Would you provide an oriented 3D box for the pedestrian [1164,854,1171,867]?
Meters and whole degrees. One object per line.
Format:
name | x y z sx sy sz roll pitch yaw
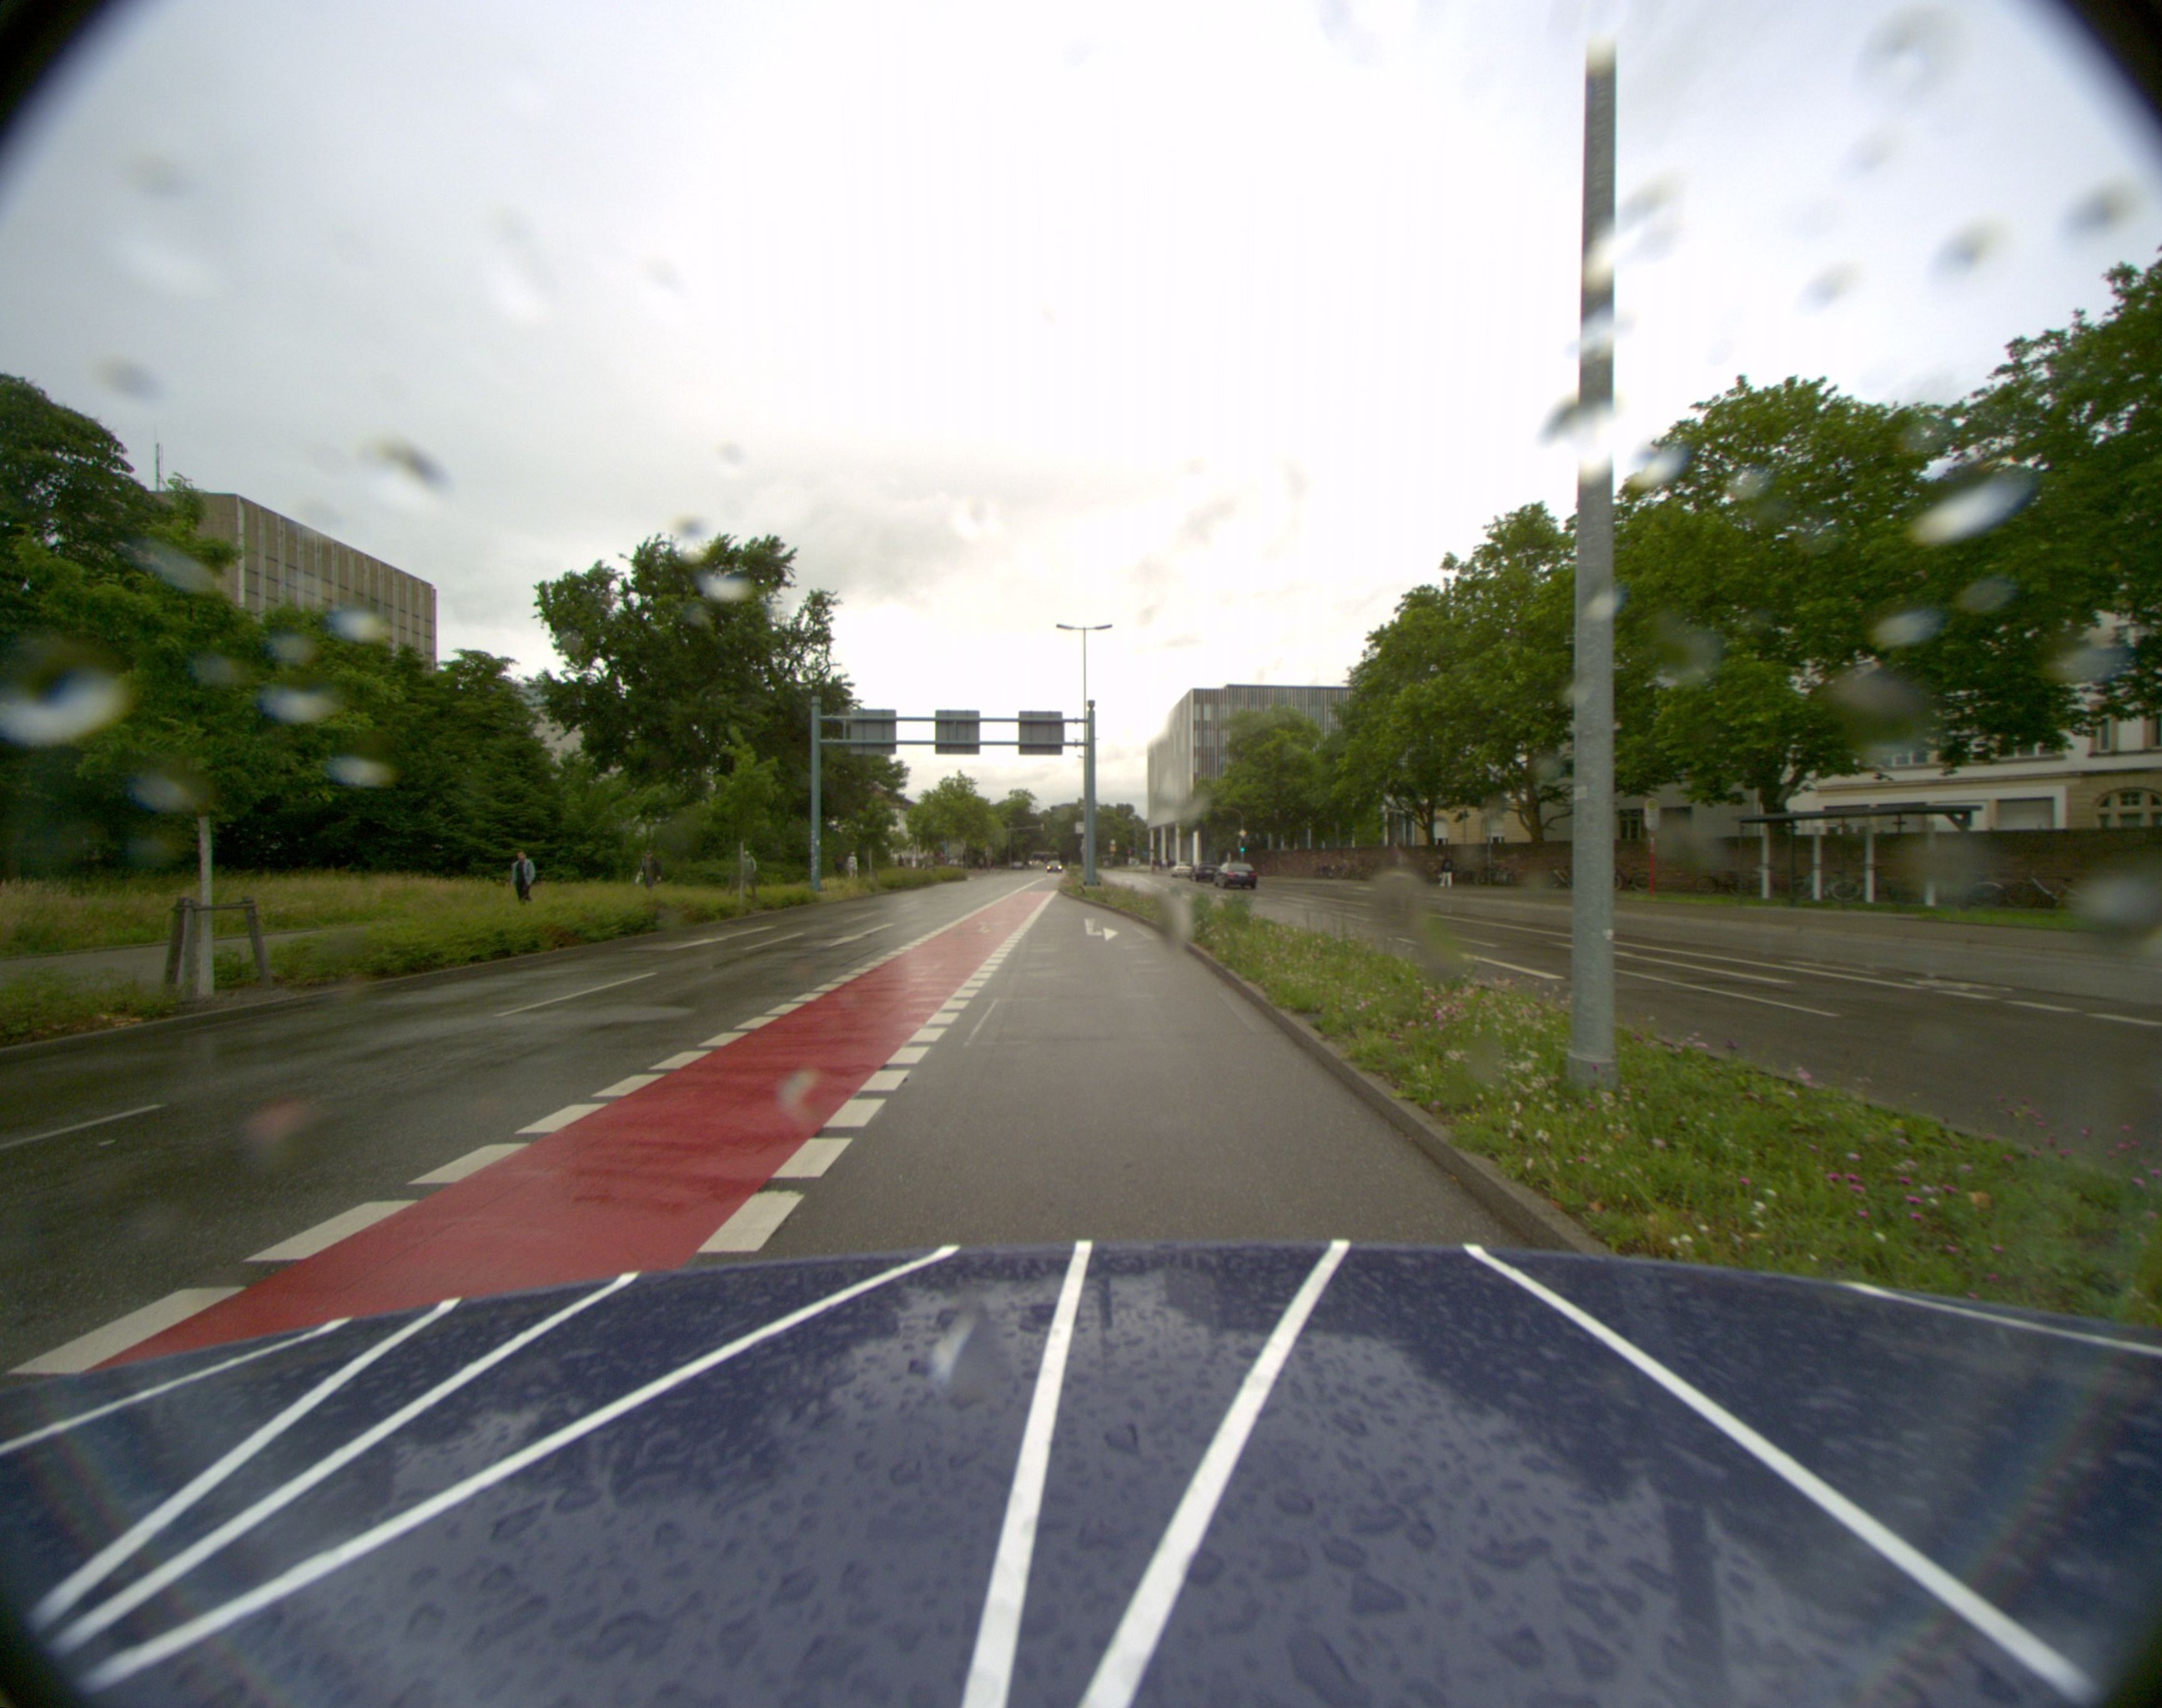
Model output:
pedestrian | 12.324 0.947 107.781 0.788 1.813 0.623 0 0 -24

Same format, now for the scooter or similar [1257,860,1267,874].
scooter or similar | 16.242 1.198 68.232 0.392 1.191 1.141 -7 1 -5

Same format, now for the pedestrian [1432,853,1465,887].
pedestrian | 18.481 0.789 38.216 0.871 1.685 1.399 0 0 -7

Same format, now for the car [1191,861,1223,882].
car | 8.998 1.210 54.642 1.628 1.407 4.066 1 0 0

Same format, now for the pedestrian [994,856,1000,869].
pedestrian | -11.454 1.119 103.792 0.625 1.813 0.785 0 0 -23

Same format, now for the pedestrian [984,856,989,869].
pedestrian | -12.873 1.154 103.429 0.625 1.813 0.786 0 0 -15

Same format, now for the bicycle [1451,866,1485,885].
bicycle | 20.754 1.159 40.792 0.734 0.977 1.699 -1 0 -12

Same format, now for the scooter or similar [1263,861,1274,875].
scooter or similar | 16.390 1.187 66.406 0.392 1.191 1.141 -7 1 -7

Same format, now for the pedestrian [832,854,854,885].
pedestrian | -13.635 0.897 43.506 0.935 1.693 0.829 -1 -2 4

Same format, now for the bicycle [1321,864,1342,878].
bicycle | 18.006 1.224 54.674 0.734 0.977 1.699 -1 0 -12

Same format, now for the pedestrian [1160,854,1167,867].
pedestrian | 11.800 0.965 108.694 0.788 1.813 0.623 0 0 -24

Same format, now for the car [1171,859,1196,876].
car | 9.049 1.196 67.446 1.600 1.407 4.524 1 0 0

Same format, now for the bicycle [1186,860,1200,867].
bicycle | 18.920 1.617 128.383 2.287 1.215 0.598 0 0 -13

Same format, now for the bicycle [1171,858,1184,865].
bicycle | 17.544 1.332 137.727 2.283 1.215 0.599 0 0 8

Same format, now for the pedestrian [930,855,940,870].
pedestrian | -15.893 0.944 82.792 0.878 1.597 0.862 0 0 -23

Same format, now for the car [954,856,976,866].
car | -23.140 1.369 151.823 4.427 1.861 1.637 0 0 -9

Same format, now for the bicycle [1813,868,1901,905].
bicycle | 25.460 1.045 24.970 0.575 1.129 1.988 0 0 -17

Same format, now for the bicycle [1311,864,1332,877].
bicycle | 17.953 1.236 56.697 0.734 0.977 1.699 -1 0 -12

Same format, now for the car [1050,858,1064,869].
car | -2.901 1.122 93.039 1.661 1.356 4.106 0 0 -2

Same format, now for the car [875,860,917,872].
car | -21.394 1.407 87.925 4.388 1.330 1.772 0 2 -4

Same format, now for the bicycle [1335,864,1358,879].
bicycle | 18.484 1.215 53.006 0.734 0.977 1.699 -1 0 -12

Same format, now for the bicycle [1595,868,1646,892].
bicycle | 22.805 1.085 32.137 0.734 0.977 1.699 -1 0 -12

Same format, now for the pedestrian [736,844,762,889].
pedestrian | -14.931 0.579 34.196 0.792 2.002 0.829 0 0 6

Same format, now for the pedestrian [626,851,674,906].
pedestrian | -14.067 0.786 24.812 0.935 1.737 1.046 0 0 6

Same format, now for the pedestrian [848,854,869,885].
pedestrian | -12.674 0.875 43.279 0.935 1.710 0.829 -1 -2 4

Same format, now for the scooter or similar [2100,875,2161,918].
scooter or similar | 27.465 1.085 19.557 0.574 1.040 1.360 0 0 -17

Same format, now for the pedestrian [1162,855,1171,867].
pedestrian | 12.325 1.019 109.666 0.941 1.813 0.922 0 0 -24

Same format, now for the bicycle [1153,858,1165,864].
bicycle | 15.893 1.431 154.768 2.283 1.215 0.599 0 0 8

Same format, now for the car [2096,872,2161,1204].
car | 5.683 0.835 1.693 1.683 1.492 3.868 1 0 1

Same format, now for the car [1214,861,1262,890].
car | 9.089 1.206 44.321 1.813 1.531 4.703 1 0 0

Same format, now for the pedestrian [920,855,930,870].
pedestrian | -16.962 0.938 82.582 0.879 1.597 0.861 0 0 -29

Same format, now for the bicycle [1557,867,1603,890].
bicycle | 22.424 1.081 34.188 0.734 0.977 1.699 -1 0 -12

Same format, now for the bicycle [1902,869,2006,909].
bicycle | 26.121 1.033 22.793 0.575 1.129 1.988 0 0 -17

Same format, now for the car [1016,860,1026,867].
car | -10.858 1.650 138.533 1.661 1.258 4.106 0 0 -2

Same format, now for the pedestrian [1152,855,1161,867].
pedestrian | 10.963 1.019 109.862 0.941 1.813 0.921 0 0 -31

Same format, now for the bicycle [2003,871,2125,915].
bicycle | 27.001 1.046 20.929 0.575 1.129 1.988 0 0 -17

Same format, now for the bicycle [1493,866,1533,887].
bicycle | 21.064 1.107 37.099 0.734 0.977 1.699 -1 0 -12

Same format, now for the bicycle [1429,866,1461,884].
bicycle | 20.332 1.154 42.477 0.734 0.977 1.699 -1 0 -12

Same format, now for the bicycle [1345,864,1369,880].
bicycle | 18.430 1.202 50.824 0.733 0.977 1.863 -1 0 -7

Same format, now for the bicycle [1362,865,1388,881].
bicycle | 18.952 1.192 49.005 0.734 0.977 1.699 -1 0 -12

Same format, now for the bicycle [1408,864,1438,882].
bicycle | 19.889 1.083 44.172 0.734 0.977 1.699 -1 0 -12

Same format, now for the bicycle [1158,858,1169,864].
bicycle | 16.665 1.422 153.154 2.283 1.215 0.599 0 0 8

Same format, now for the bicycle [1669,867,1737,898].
bicycle | 23.815 1.068 29.143 0.575 1.129 1.988 0 0 -20

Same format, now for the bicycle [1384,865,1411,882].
bicycle | 19.532 1.180 46.915 0.734 0.977 1.699 -1 0 -12

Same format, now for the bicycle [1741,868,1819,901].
bicycle | 24.687 1.056 26.892 0.575 1.129 1.988 0 0 -20

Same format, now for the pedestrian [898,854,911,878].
pedestrian | -13.940 0.928 60.022 0.731 1.848 0.851 0 0 6

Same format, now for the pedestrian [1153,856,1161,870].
pedestrian | 9.996 1.175 99.463 0.788 1.813 0.794 0 0 -24

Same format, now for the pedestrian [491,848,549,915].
pedestrian | -15.156 0.732 20.549 0.935 1.786 0.829 0 0 6

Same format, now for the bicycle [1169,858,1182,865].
bicycle | 17.445 1.344 139.848 2.283 1.215 0.599 0 0 8

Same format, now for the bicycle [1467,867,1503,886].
bicycle | 20.938 1.152 39.451 0.734 0.977 1.699 -1 0 -12
